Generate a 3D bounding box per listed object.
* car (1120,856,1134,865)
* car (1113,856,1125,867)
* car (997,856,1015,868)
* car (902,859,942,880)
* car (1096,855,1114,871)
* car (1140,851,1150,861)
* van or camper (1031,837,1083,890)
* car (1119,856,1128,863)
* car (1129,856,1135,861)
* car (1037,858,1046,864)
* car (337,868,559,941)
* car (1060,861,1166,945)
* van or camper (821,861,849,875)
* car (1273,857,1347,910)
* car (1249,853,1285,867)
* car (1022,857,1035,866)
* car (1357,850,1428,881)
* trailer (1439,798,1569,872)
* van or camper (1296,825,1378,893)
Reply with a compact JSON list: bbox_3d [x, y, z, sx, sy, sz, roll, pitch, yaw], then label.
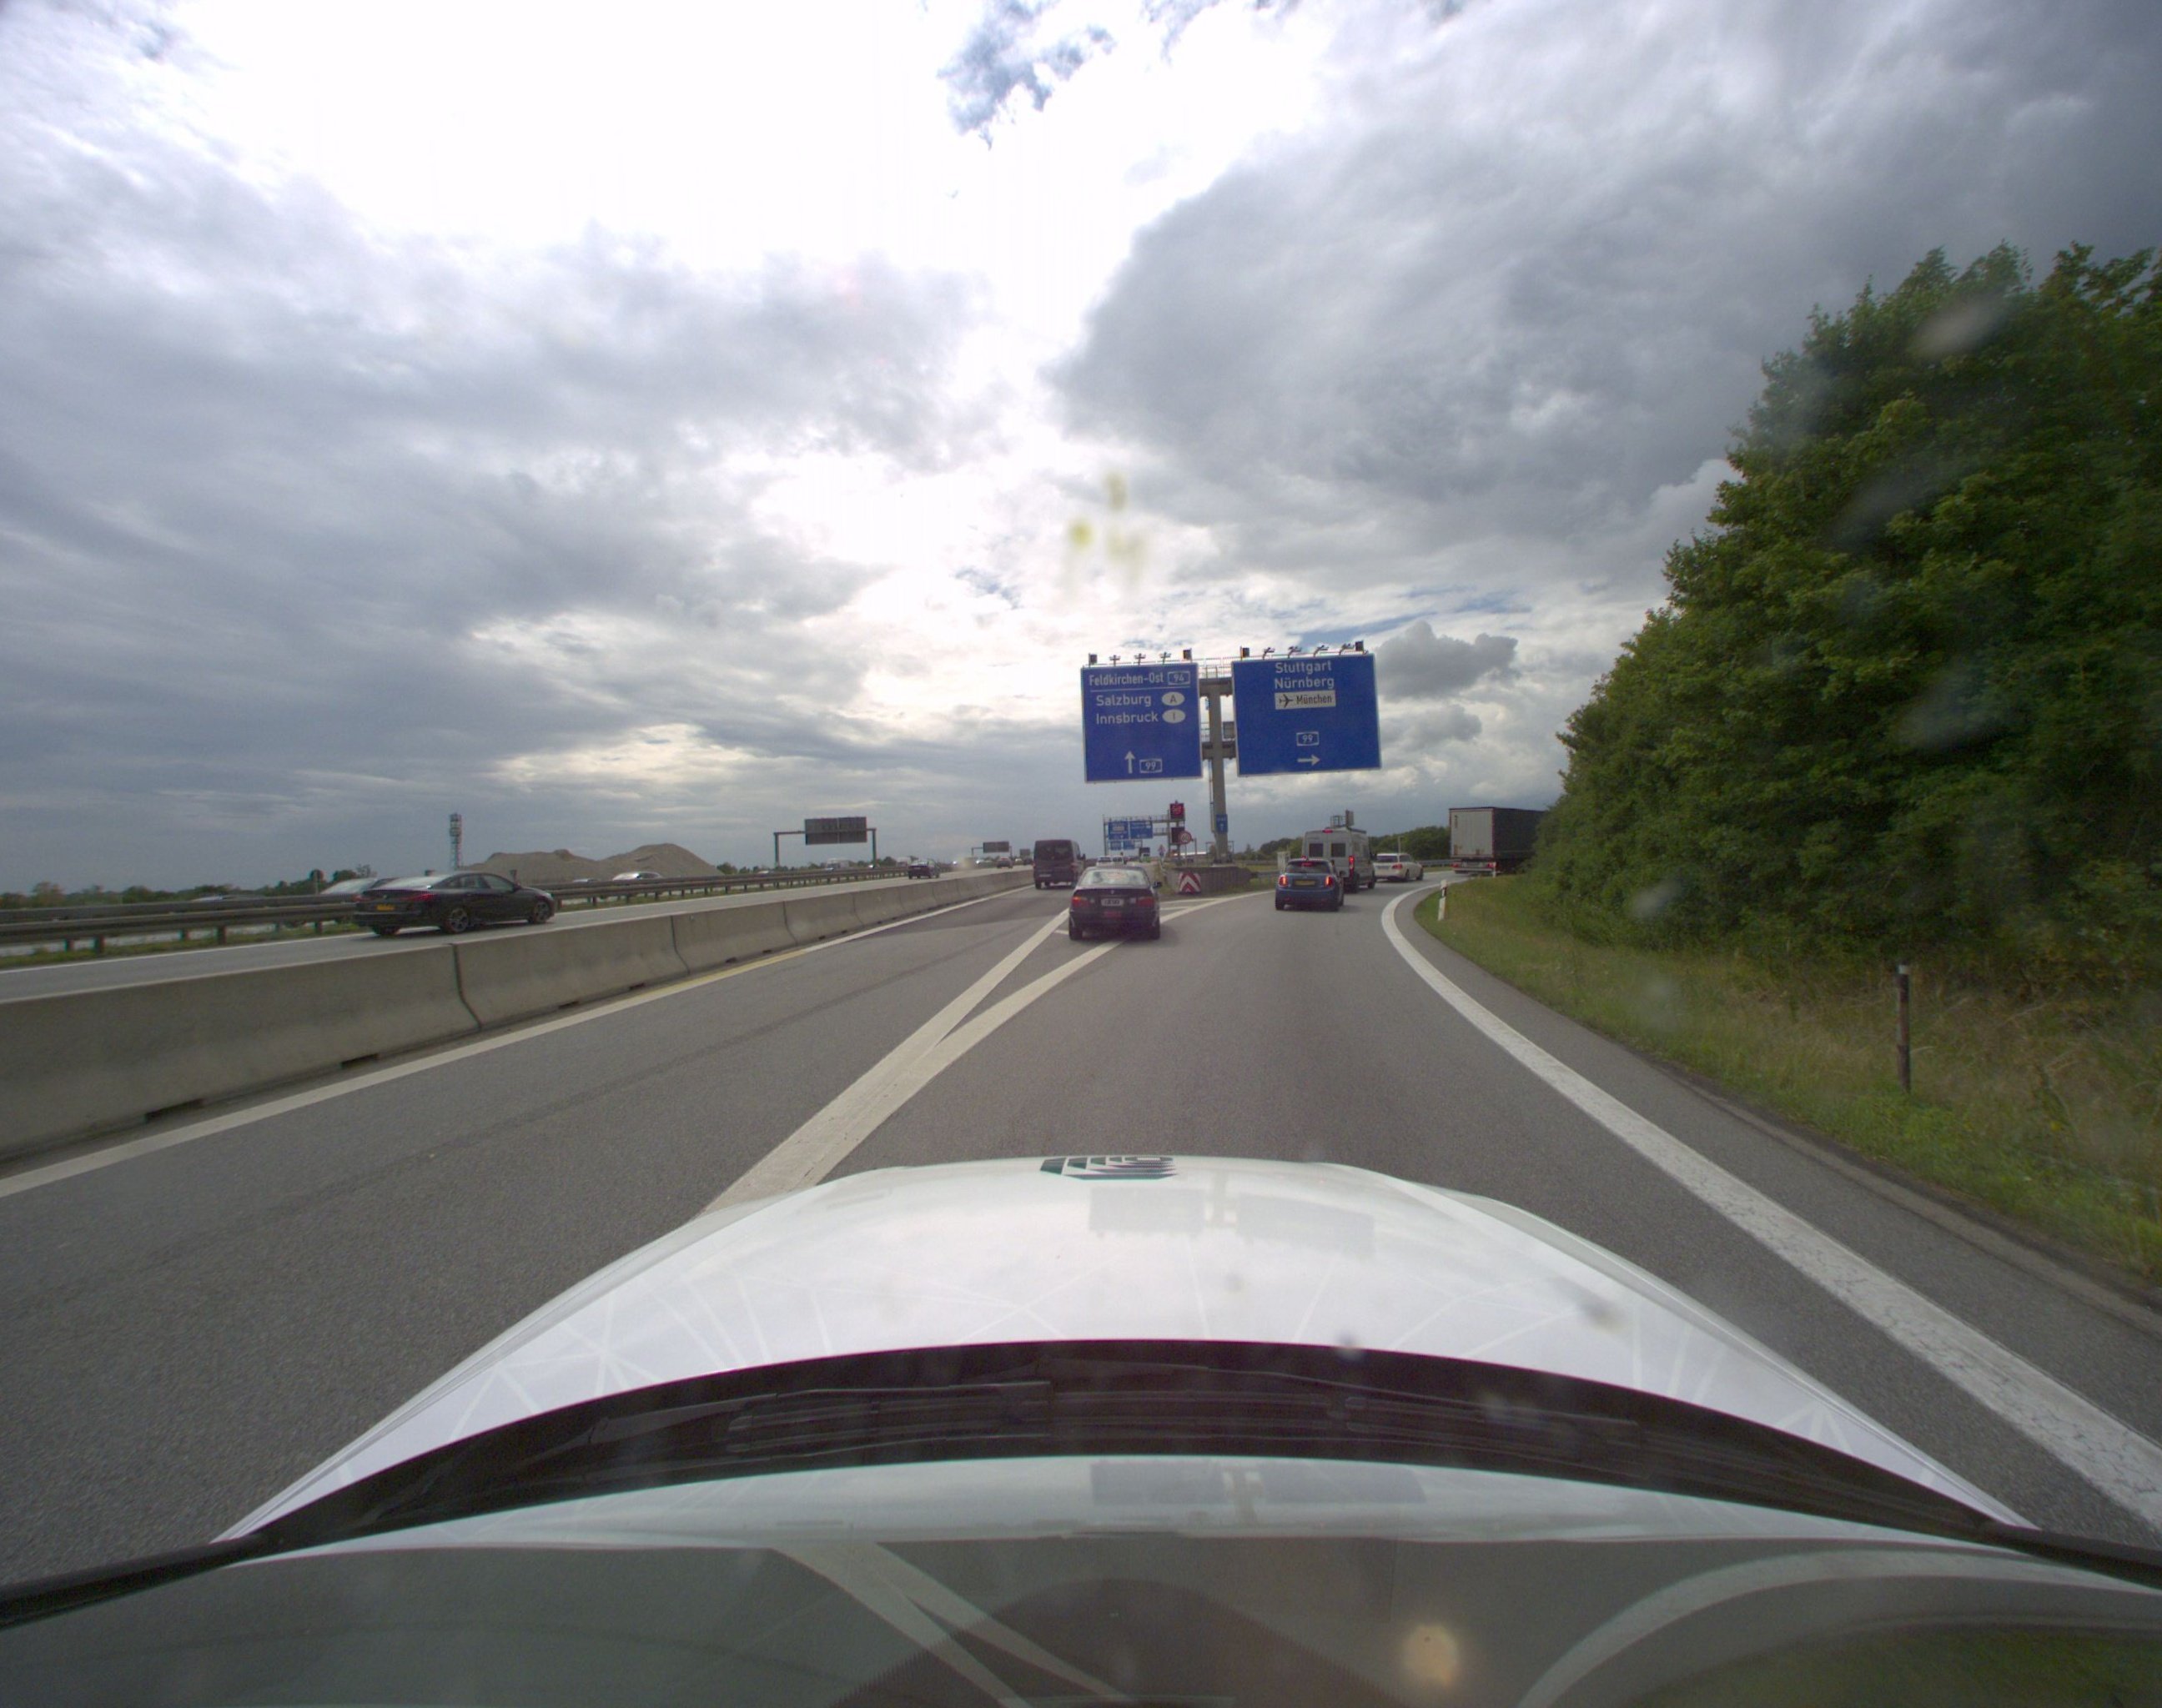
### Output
[{"bbox_3d":[7.517,1.042,133.258,1.983,1.468,4.007,-1,0,7],"label":"car"},{"bbox_3d":[5.040,0.976,107.848,1.578,1.484,3.538,-1,0,4],"label":"car"},{"bbox_3d":[-10.511,1.092,114.109,1.893,1.640,4.648,-1,0,3],"label":"car"},{"bbox_3d":[-12.350,1.215,63.656,2.051,1.527,4.570,-1,0,2],"label":"car"},{"bbox_3d":[2.453,0.901,82.883,1.694,1.508,3.842,-1,0,2],"label":"car"},{"bbox_3d":[13.264,0.464,168.599,1.986,2.013,4.002,-1,0,2],"label":"car"},{"bbox_3d":[-1.099,0.425,40.360,1.991,2.370,6.131,-1,0,3],"label":"van or camper"},{"bbox_3d":[9.043,1.188,171.698,1.858,1.424,4.004,-1,0,4],"label":"car"},{"bbox_3d":[15.684,1.253,248.743,1.794,1.424,4.005,-1,0,5],"label":"car"},{"bbox_3d":[-8.726,1.520,180.913,1.546,1.376,4.002,-1,0,2],"label":"car"},{"bbox_3d":[-14.818,1.113,19.442,1.765,1.450,4.386,-1,0,2],"label":"car"},{"bbox_3d":[0.685,0.862,16.055,1.774,1.378,4.141,-1,0,4],"label":"car"},{"bbox_3d":[-37.338,2.043,123.868,2.228,2.013,6.277,-1,0,0],"label":"van or camper"},{"bbox_3d":[6.731,0.810,23.719,1.714,1.419,3.685,-1,-1,21],"label":"car"},{"bbox_3d":[24.234,0.848,106.112,2.010,1.772,4.197,-1,0,-39],"label":"car"},{"bbox_3d":[-9.424,1.301,147.361,1.893,1.638,4.236,-1,0,3],"label":"car"},{"bbox_3d":[16.304,0.576,42.492,2.184,1.501,4.818,-2,-1,37],"label":"car"},{"bbox_3d":[27.155,-1.130,51.800,13.107,4.193,3.300,-1,0,-44],"label":"trailer"},{"bbox_3d":[10.807,0.177,34.012,2.272,2.568,6.197,-2,0,26],"label":"van or camper"}]
